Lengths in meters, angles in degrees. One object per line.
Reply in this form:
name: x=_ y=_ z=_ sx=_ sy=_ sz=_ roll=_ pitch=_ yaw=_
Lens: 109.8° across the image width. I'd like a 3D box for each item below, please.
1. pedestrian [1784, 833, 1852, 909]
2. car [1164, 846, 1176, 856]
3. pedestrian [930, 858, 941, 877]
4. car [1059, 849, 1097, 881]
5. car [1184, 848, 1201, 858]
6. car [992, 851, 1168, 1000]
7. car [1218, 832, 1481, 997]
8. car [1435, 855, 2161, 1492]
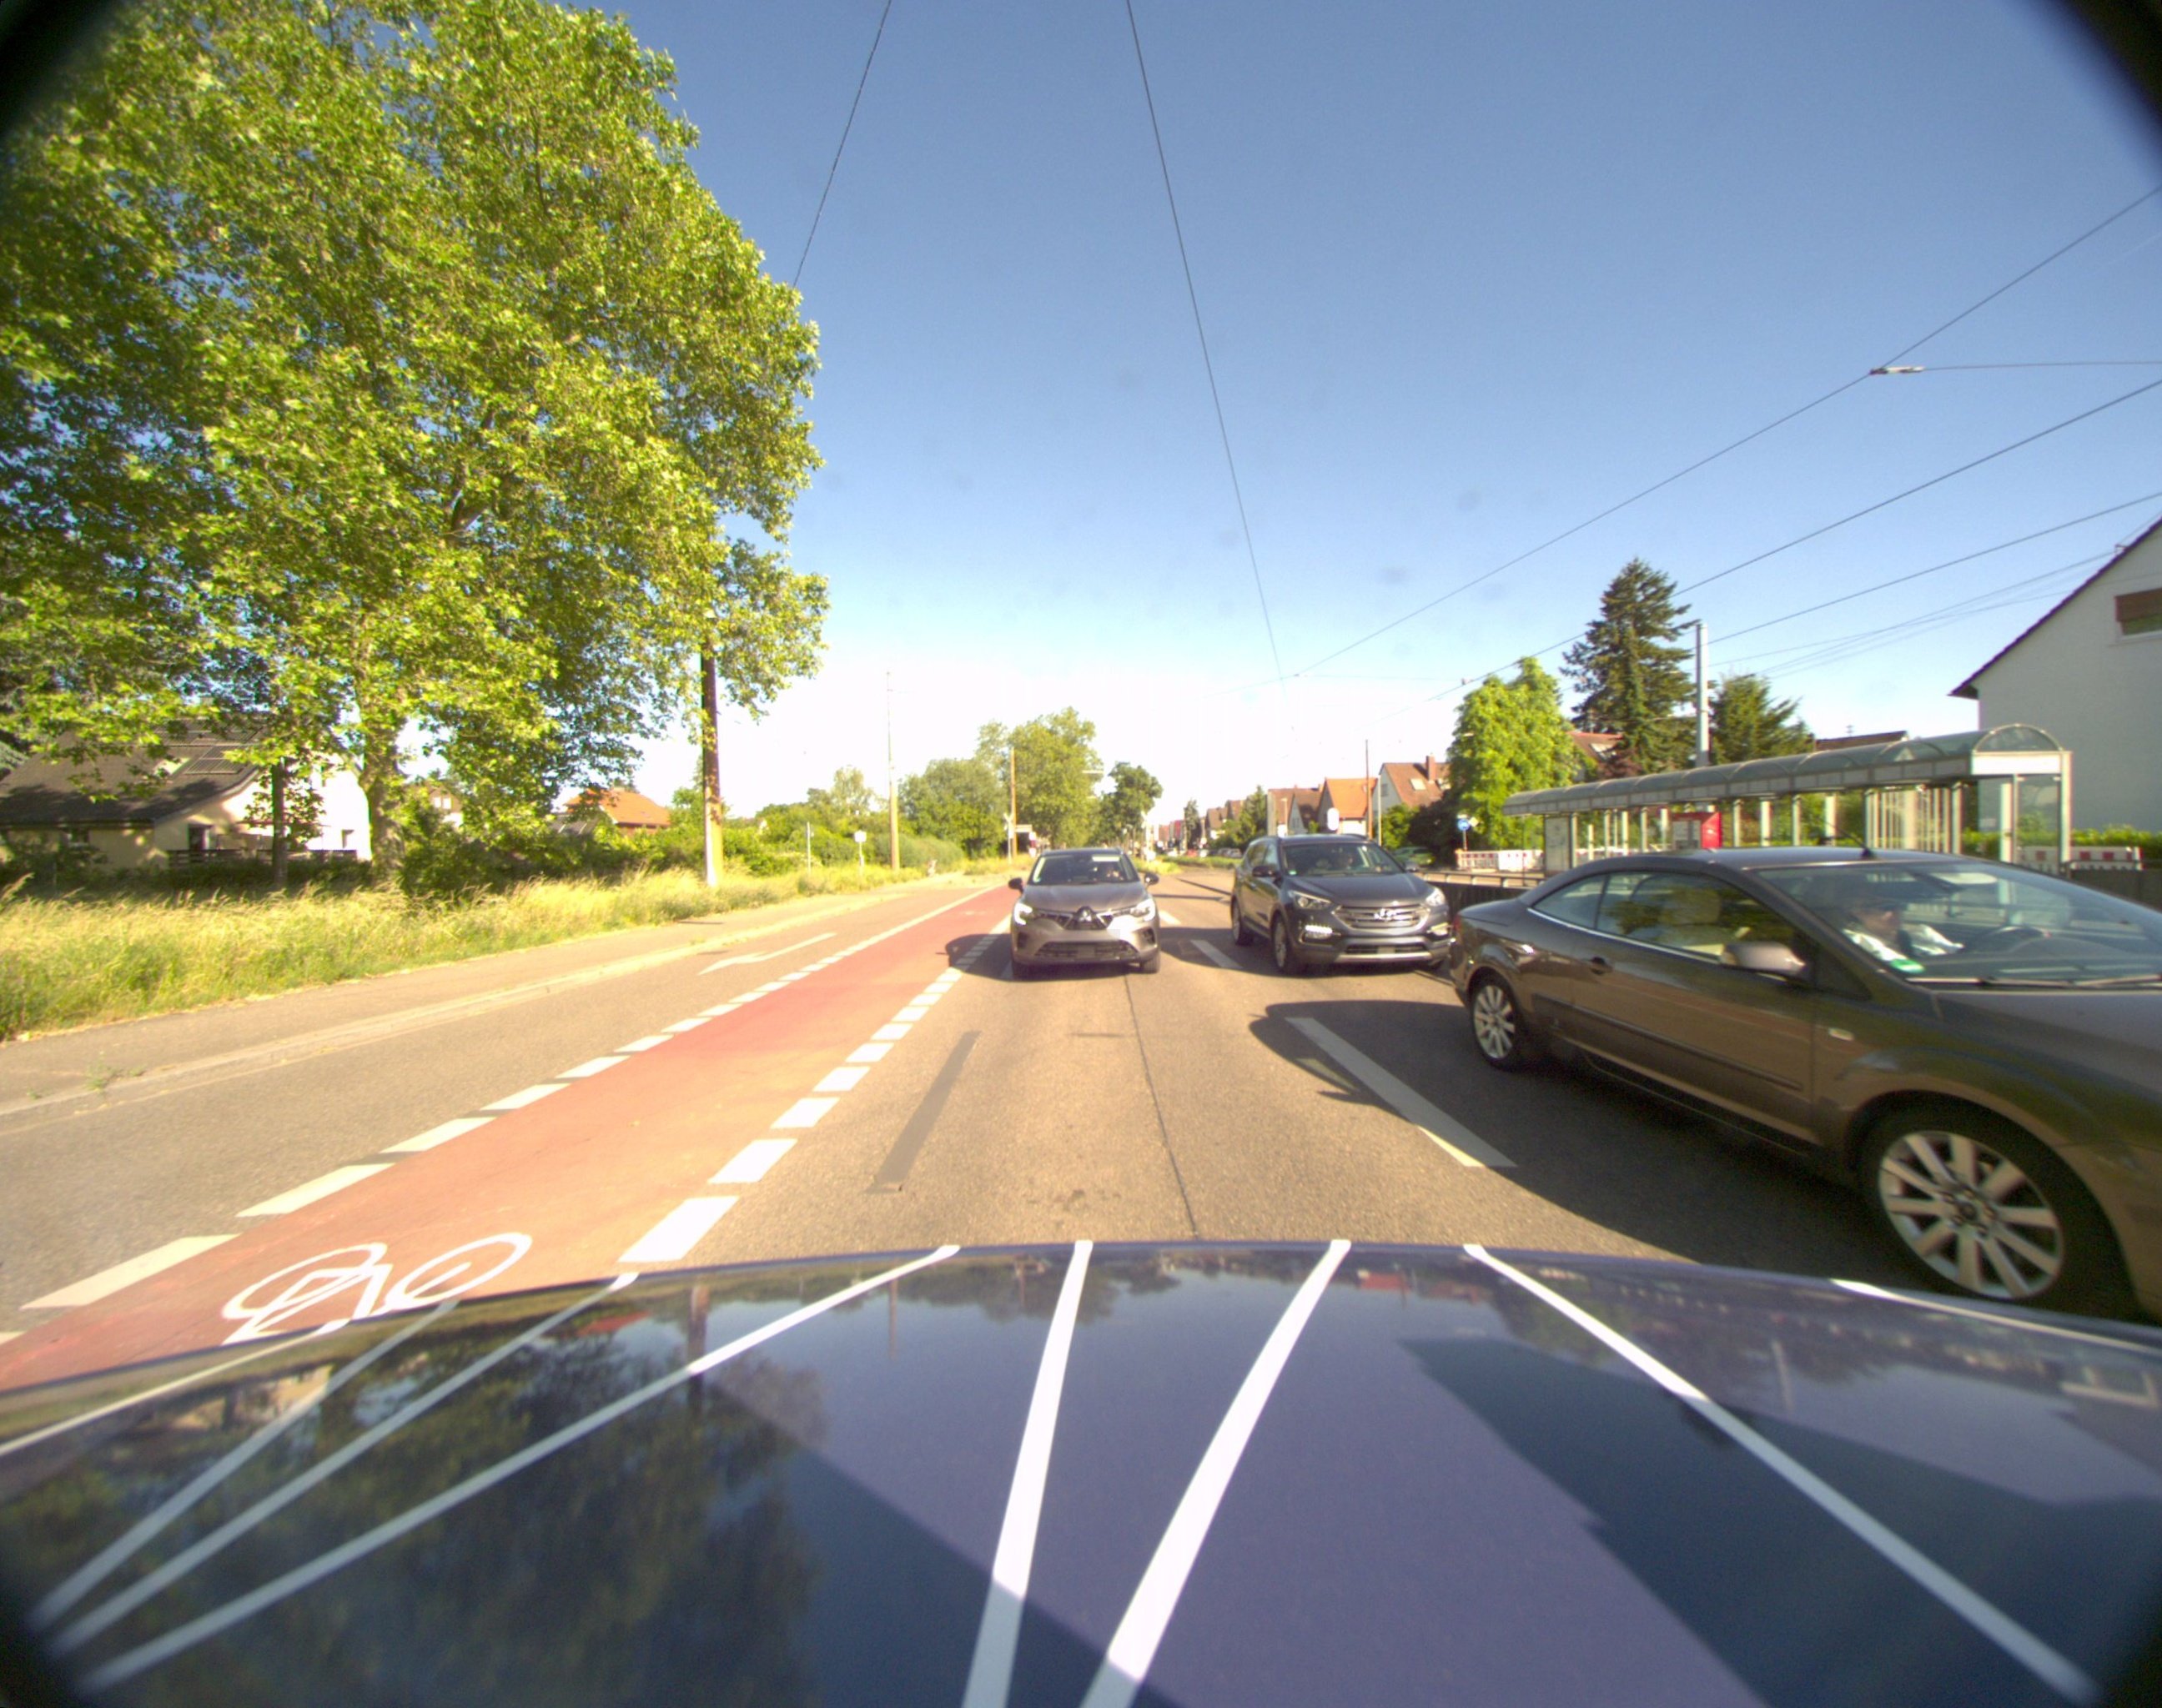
pedestrian: x=14.101 y=0.313 z=14.556 sx=0.623 sy=1.406 sz=0.711 roll=-1 pitch=1 yaw=-2
car: x=16.903 y=-0.529 z=144.535 sx=1.998 sy=1.761 sz=4.000 roll=-1 pitch=0 yaw=1
pedestrian: x=-8.065 y=0.732 z=42.205 sx=0.482 sy=1.027 sz=0.454 roll=-1 pitch=1 yaw=0
car: x=-0.128 y=0.515 z=38.604 sx=1.839 sy=1.541 sz=3.815 roll=-1 pitch=0 yaw=0
car: x=16.972 y=-0.105 z=115.972 sx=1.998 sy=1.455 sz=4.000 roll=-1 pitch=0 yaw=1
car: x=0.012 y=0.758 z=9.982 sx=1.839 sy=1.541 sz=3.815 roll=-1 pitch=0 yaw=1
car: x=3.189 y=0.615 z=10.060 sx=1.886 sy=1.686 sz=4.299 roll=-1 pitch=0 yaw=-1
car: x=3.491 y=0.800 z=3.358 sx=1.755 sy=1.525 sz=4.193 roll=-1 pitch=0 yaw=-2
